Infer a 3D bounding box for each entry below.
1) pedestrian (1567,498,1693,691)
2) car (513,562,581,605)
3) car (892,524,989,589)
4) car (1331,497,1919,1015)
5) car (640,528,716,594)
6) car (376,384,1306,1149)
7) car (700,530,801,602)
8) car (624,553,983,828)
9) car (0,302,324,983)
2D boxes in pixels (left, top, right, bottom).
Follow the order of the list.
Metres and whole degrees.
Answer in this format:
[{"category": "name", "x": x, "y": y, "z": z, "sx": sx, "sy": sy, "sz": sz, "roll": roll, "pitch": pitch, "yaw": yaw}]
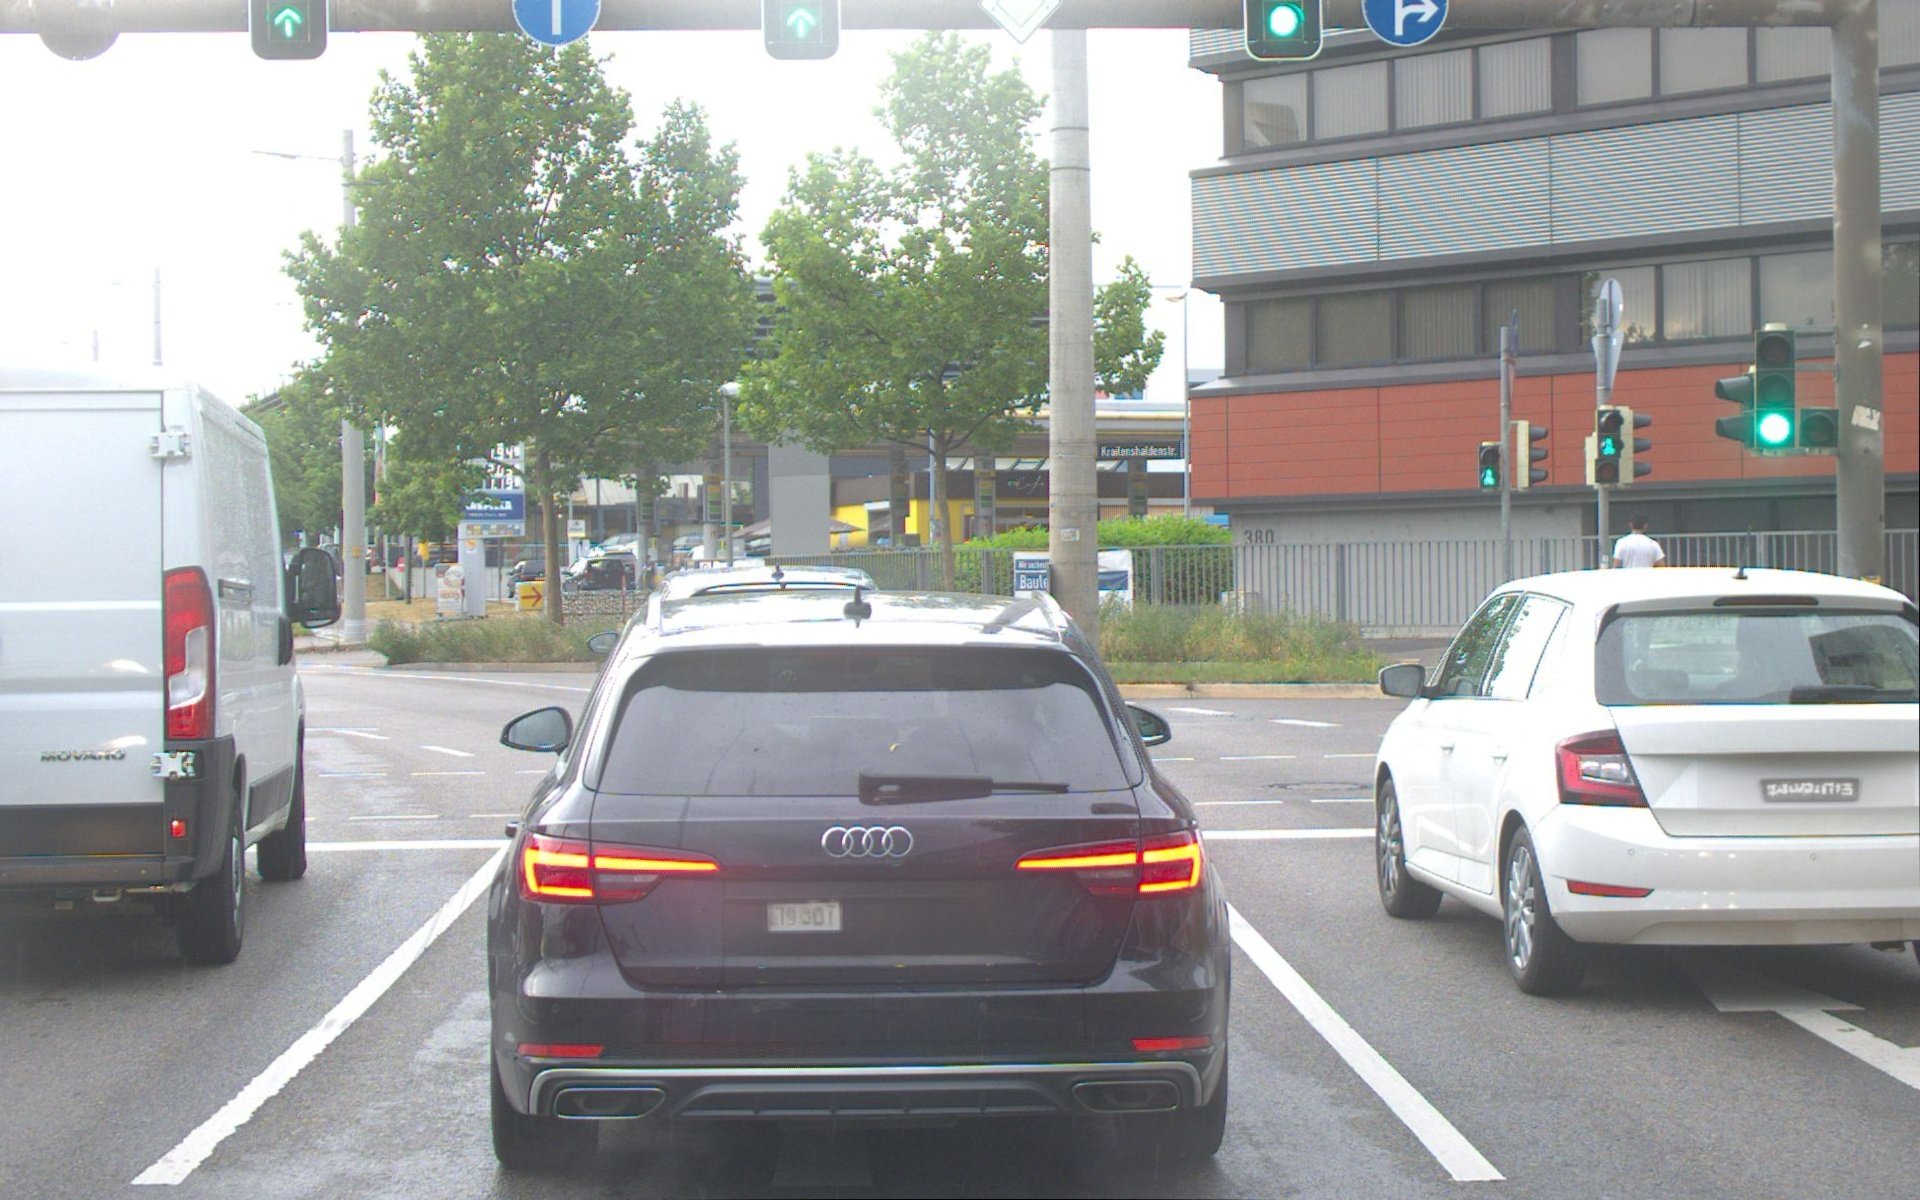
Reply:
[{"category": "pedestrian", "x": 7.573, "y": -0.083, "z": 38.917, "sx": 1.143, "sy": 2.118, "sz": 1.222, "roll": -1, "pitch": 2, "yaw": -1}, {"category": "car", "x": -15.811, "y": -0.649, "z": 131.551, "sx": 1.791, "sy": 1.586, "sz": 4.001, "roll": -1, "pitch": 1, "yaw": -18}, {"category": "car", "x": -0.654, "y": -1.408, "z": 112.505, "sx": 1.869, "sy": 2.007, "sz": 3.775, "roll": 2, "pitch": 0, "yaw": -21}, {"category": "car", "x": 2.654, "y": 0.514, "z": 13.011, "sx": 1.829, "sy": 1.650, "sz": 4.000, "roll": 0, "pitch": 0, "yaw": -4}, {"category": "car", "x": -8.965, "y": -1.204, "z": 109.046, "sx": 1.678, "sy": 2.007, "sz": 3.543, "roll": 2, "pitch": 0, "yaw": -16}, {"category": "car", "x": -0.276, "y": 0.370, "z": 9.418, "sx": 1.993, "sy": 1.632, "sz": 4.000, "roll": 0, "pitch": 0, "yaw": -1}, {"category": "car", "x": -6.128, "y": -0.980, "z": 100.204, "sx": 1.993, "sy": 2.025, "sz": 4.001, "roll": -1, "pitch": 1, "yaw": -17}, {"category": "car", "x": -1.022, "y": 0.487, "z": 20.321, "sx": 1.893, "sy": 1.460, "sz": 3.910, "roll": 0, "pitch": 0, "yaw": -6}, {"category": "car", "x": -3.979, "y": 0.132, "z": 13.967, "sx": 2.444, "sy": 2.286, "sz": 4.905, "roll": 2, "pitch": 0, "yaw": -8}]
